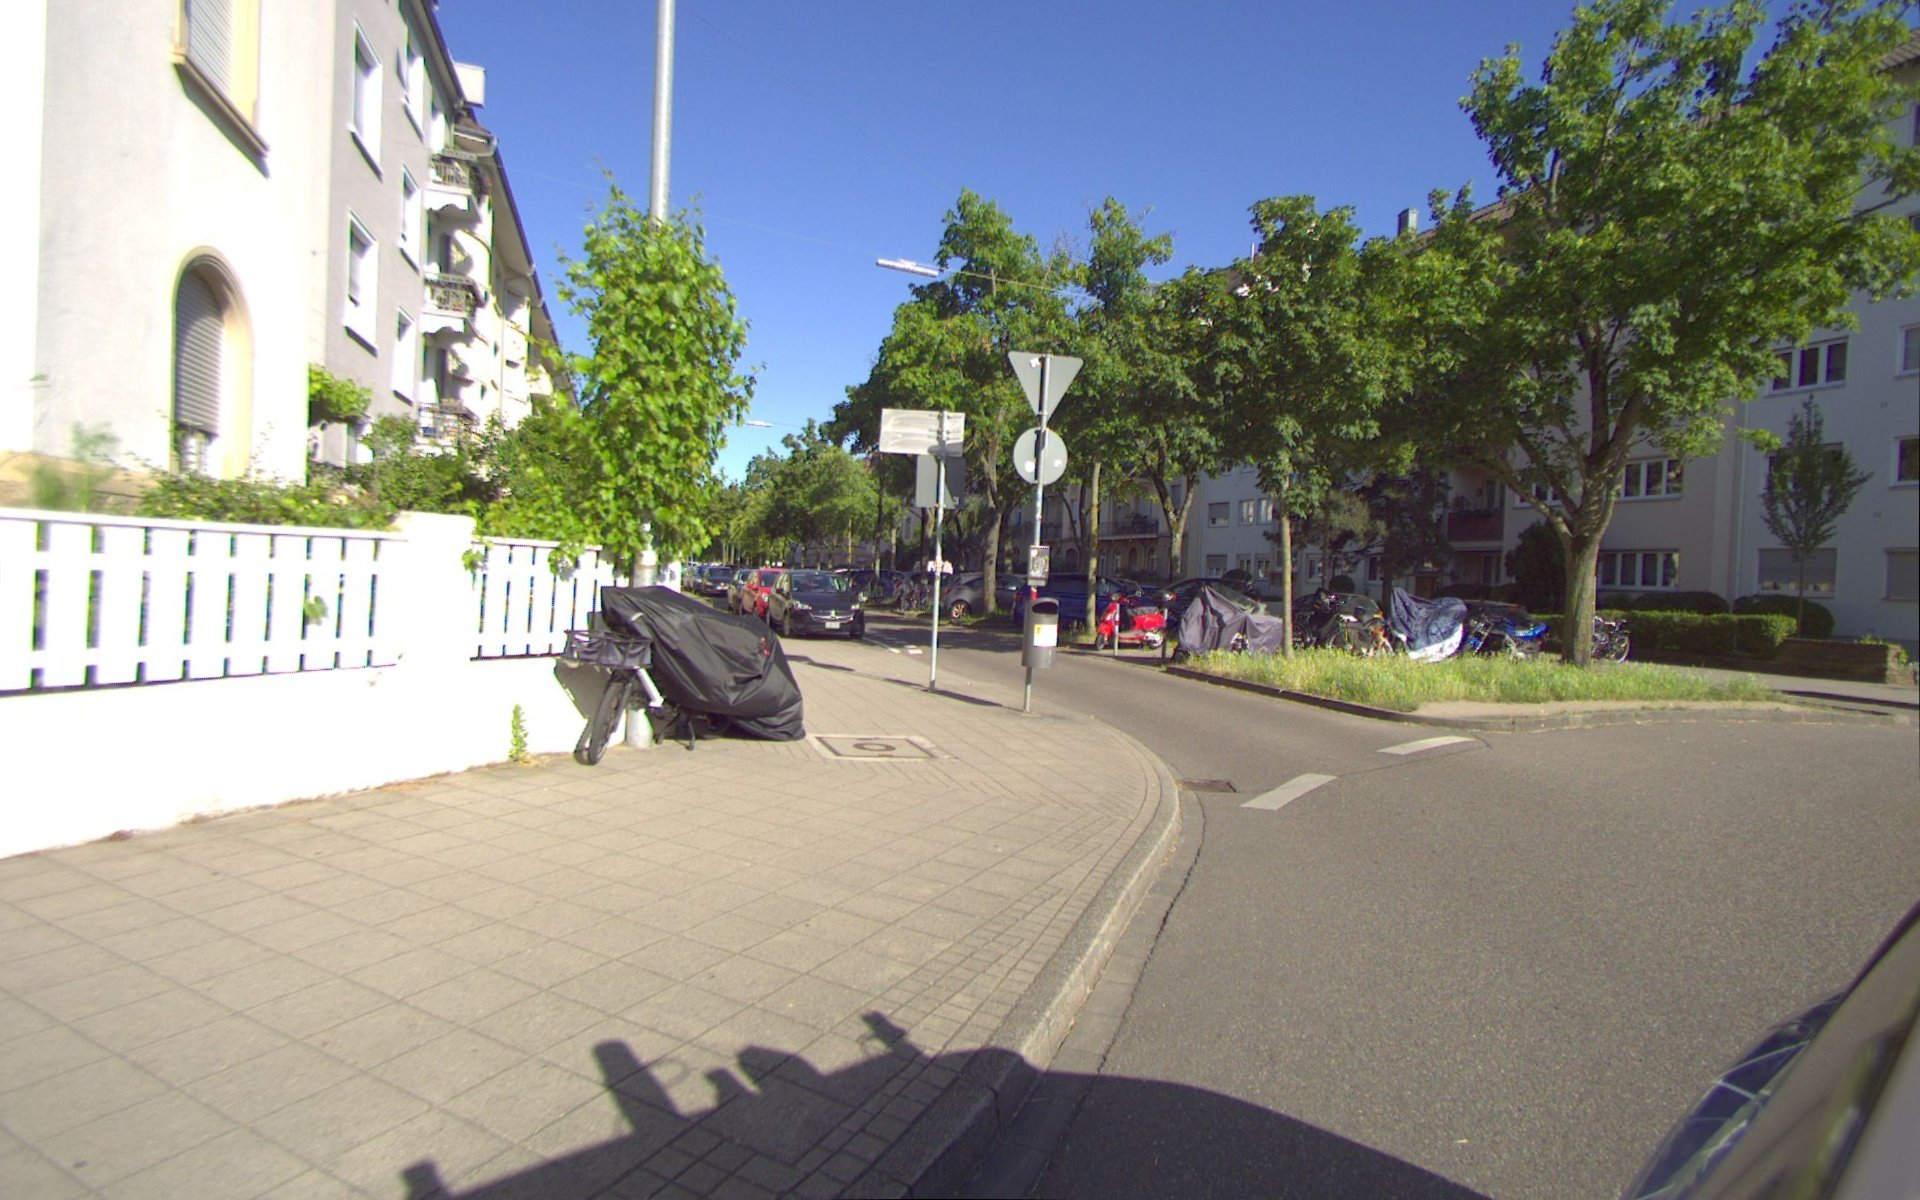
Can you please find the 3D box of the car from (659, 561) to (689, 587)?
[{"bbox_3d":[-21.172,-1.941,74.871,1.716,1.809,3.863,3,1,-20],"label":"car"}]

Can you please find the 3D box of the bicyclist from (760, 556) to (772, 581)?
[{"bbox_3d":[-10.728,-1.742,55.885,0.496,1.384,0.705,2,1,-18],"label":"bicyclist"}]

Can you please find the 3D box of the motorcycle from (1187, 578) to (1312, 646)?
[{"bbox_3d":[5.945,0.252,20.822,2.195,1.283,1.054,2,1,-18],"label":"motorcycle"}]

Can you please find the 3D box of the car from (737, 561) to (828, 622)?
[{"bbox_3d":[-4.939,-0.289,27.750,1.716,1.463,3.863,3,1,-20],"label":"car"}]

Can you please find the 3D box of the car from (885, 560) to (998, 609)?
[{"bbox_3d":[-0.656,-0.575,37.781,3.932,1.610,1.883,3,1,7],"label":"car"}]

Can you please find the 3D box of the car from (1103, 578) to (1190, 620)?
[{"bbox_3d":[7.883,-0.081,43.095,1.747,1.503,4.010,3,1,-21],"label":"car"}]

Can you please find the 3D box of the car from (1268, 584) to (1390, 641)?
[{"bbox_3d":[11.648,0.350,32.261,1.748,1.503,4.009,3,1,-11],"label":"car"}]

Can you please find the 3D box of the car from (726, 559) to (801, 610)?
[{"bbox_3d":[-6.462,-0.535,33.029,1.716,1.463,3.863,3,1,-20],"label":"car"}]

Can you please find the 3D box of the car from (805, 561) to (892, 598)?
[{"bbox_3d":[-5.517,-1.035,50.328,3.932,1.610,1.883,3,1,7],"label":"car"}]

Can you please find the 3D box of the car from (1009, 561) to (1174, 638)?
[{"bbox_3d":[3.249,-0.044,24.907,3.815,1.660,1.798,3,1,11],"label":"car"}]

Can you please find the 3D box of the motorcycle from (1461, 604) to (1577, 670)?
[{"bbox_3d":[10.345,0.678,18.738,1.806,1.086,0.816,3,1,-18],"label":"motorcycle"}]

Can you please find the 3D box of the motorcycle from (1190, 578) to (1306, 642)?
[{"bbox_3d":[6.309,0.214,22.194,2.195,1.283,1.054,2,1,-18],"label":"motorcycle"}]

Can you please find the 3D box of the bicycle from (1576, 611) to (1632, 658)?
[{"bbox_3d":[15.521,0.826,24.390,1.419,1.070,0.331,0,2,-20],"label":"bicycle"}]

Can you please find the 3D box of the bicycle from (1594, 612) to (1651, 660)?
[{"bbox_3d":[15.675,0.844,23.942,1.419,1.070,0.331,0,2,-20],"label":"bicycle"}]

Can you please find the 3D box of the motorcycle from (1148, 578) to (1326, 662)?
[{"bbox_3d":[4.633,0.339,16.930,2.725,1.283,1.129,2,1,-23],"label":"motorcycle"}]

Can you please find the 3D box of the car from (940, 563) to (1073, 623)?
[{"bbox_3d":[1.469,-0.246,31.029,3.932,1.610,1.704,3,1,7],"label":"car"}]

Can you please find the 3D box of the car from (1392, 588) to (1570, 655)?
[{"bbox_3d":[13.658,0.523,26.813,1.794,1.429,4.010,3,1,-18],"label":"car"}]

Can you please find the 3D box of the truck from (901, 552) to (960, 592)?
[{"bbox_3d":[-2.222,-2.118,74.178,2.360,2.709,5.921,3,1,-21],"label":"truck"}]

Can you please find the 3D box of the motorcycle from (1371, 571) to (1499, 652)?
[{"bbox_3d":[8.471,0.211,18.050,2.011,1.344,0.865,2,1,-22],"label":"motorcycle"}]

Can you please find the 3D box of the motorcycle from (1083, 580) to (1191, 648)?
[{"bbox_3d":[3.495,0.273,20.021,1.854,1.252,0.892,2,1,-18],"label":"motorcycle"}]

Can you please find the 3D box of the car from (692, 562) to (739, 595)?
[{"bbox_3d":[-11.884,-1.051,49.080,1.716,1.425,3.863,3,1,-20],"label":"car"}]

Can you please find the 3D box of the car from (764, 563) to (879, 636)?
[{"bbox_3d":[-3.214,-0.068,22.816,1.716,1.463,3.965,0,2,-20],"label":"car"}]

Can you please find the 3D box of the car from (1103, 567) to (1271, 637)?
[{"bbox_3d":[5.955,0.039,26.878,3.924,1.617,2.000,2,1,0],"label":"car"}]

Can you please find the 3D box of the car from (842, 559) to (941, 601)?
[{"bbox_3d":[-2.934,-0.866,43.866,3.932,1.610,1.883,3,1,7],"label":"car"}]

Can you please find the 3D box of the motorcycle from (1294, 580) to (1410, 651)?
[{"bbox_3d":[8.430,0.322,21.762,2.082,1.409,1.065,2,1,-20],"label":"motorcycle"}]

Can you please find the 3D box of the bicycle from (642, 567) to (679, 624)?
[{"bbox_3d":[-6.257,-0.124,21.245,0.668,1.072,2.262,2,2,-16],"label":"bicycle"}]

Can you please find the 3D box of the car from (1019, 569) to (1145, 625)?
[{"bbox_3d":[3.952,-0.106,33.243,3.930,1.618,1.876,3,1,6],"label":"car"}]

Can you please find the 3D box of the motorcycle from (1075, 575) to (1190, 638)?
[{"bbox_3d":[3.786,0.138,22.264,2.195,1.283,1.054,2,1,-18],"label":"motorcycle"}]

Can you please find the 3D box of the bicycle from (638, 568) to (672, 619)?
[{"bbox_3d":[-7.087,-0.181,23.586,0.668,1.072,2.262,2,2,-16],"label":"bicycle"}]

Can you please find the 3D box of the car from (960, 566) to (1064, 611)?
[{"bbox_3d":[2.033,-0.464,39.565,3.929,1.567,1.780,3,1,5],"label":"car"}]

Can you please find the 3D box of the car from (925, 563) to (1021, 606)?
[{"bbox_3d":[0.605,-0.726,46.158,3.954,1.745,1.873,3,1,22],"label":"car"}]

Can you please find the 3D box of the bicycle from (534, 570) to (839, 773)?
[{"bbox_3d":[-1.800,0.421,7.132,0.759,1.172,2.266,2,0,25],"label":"bicycle"}]
